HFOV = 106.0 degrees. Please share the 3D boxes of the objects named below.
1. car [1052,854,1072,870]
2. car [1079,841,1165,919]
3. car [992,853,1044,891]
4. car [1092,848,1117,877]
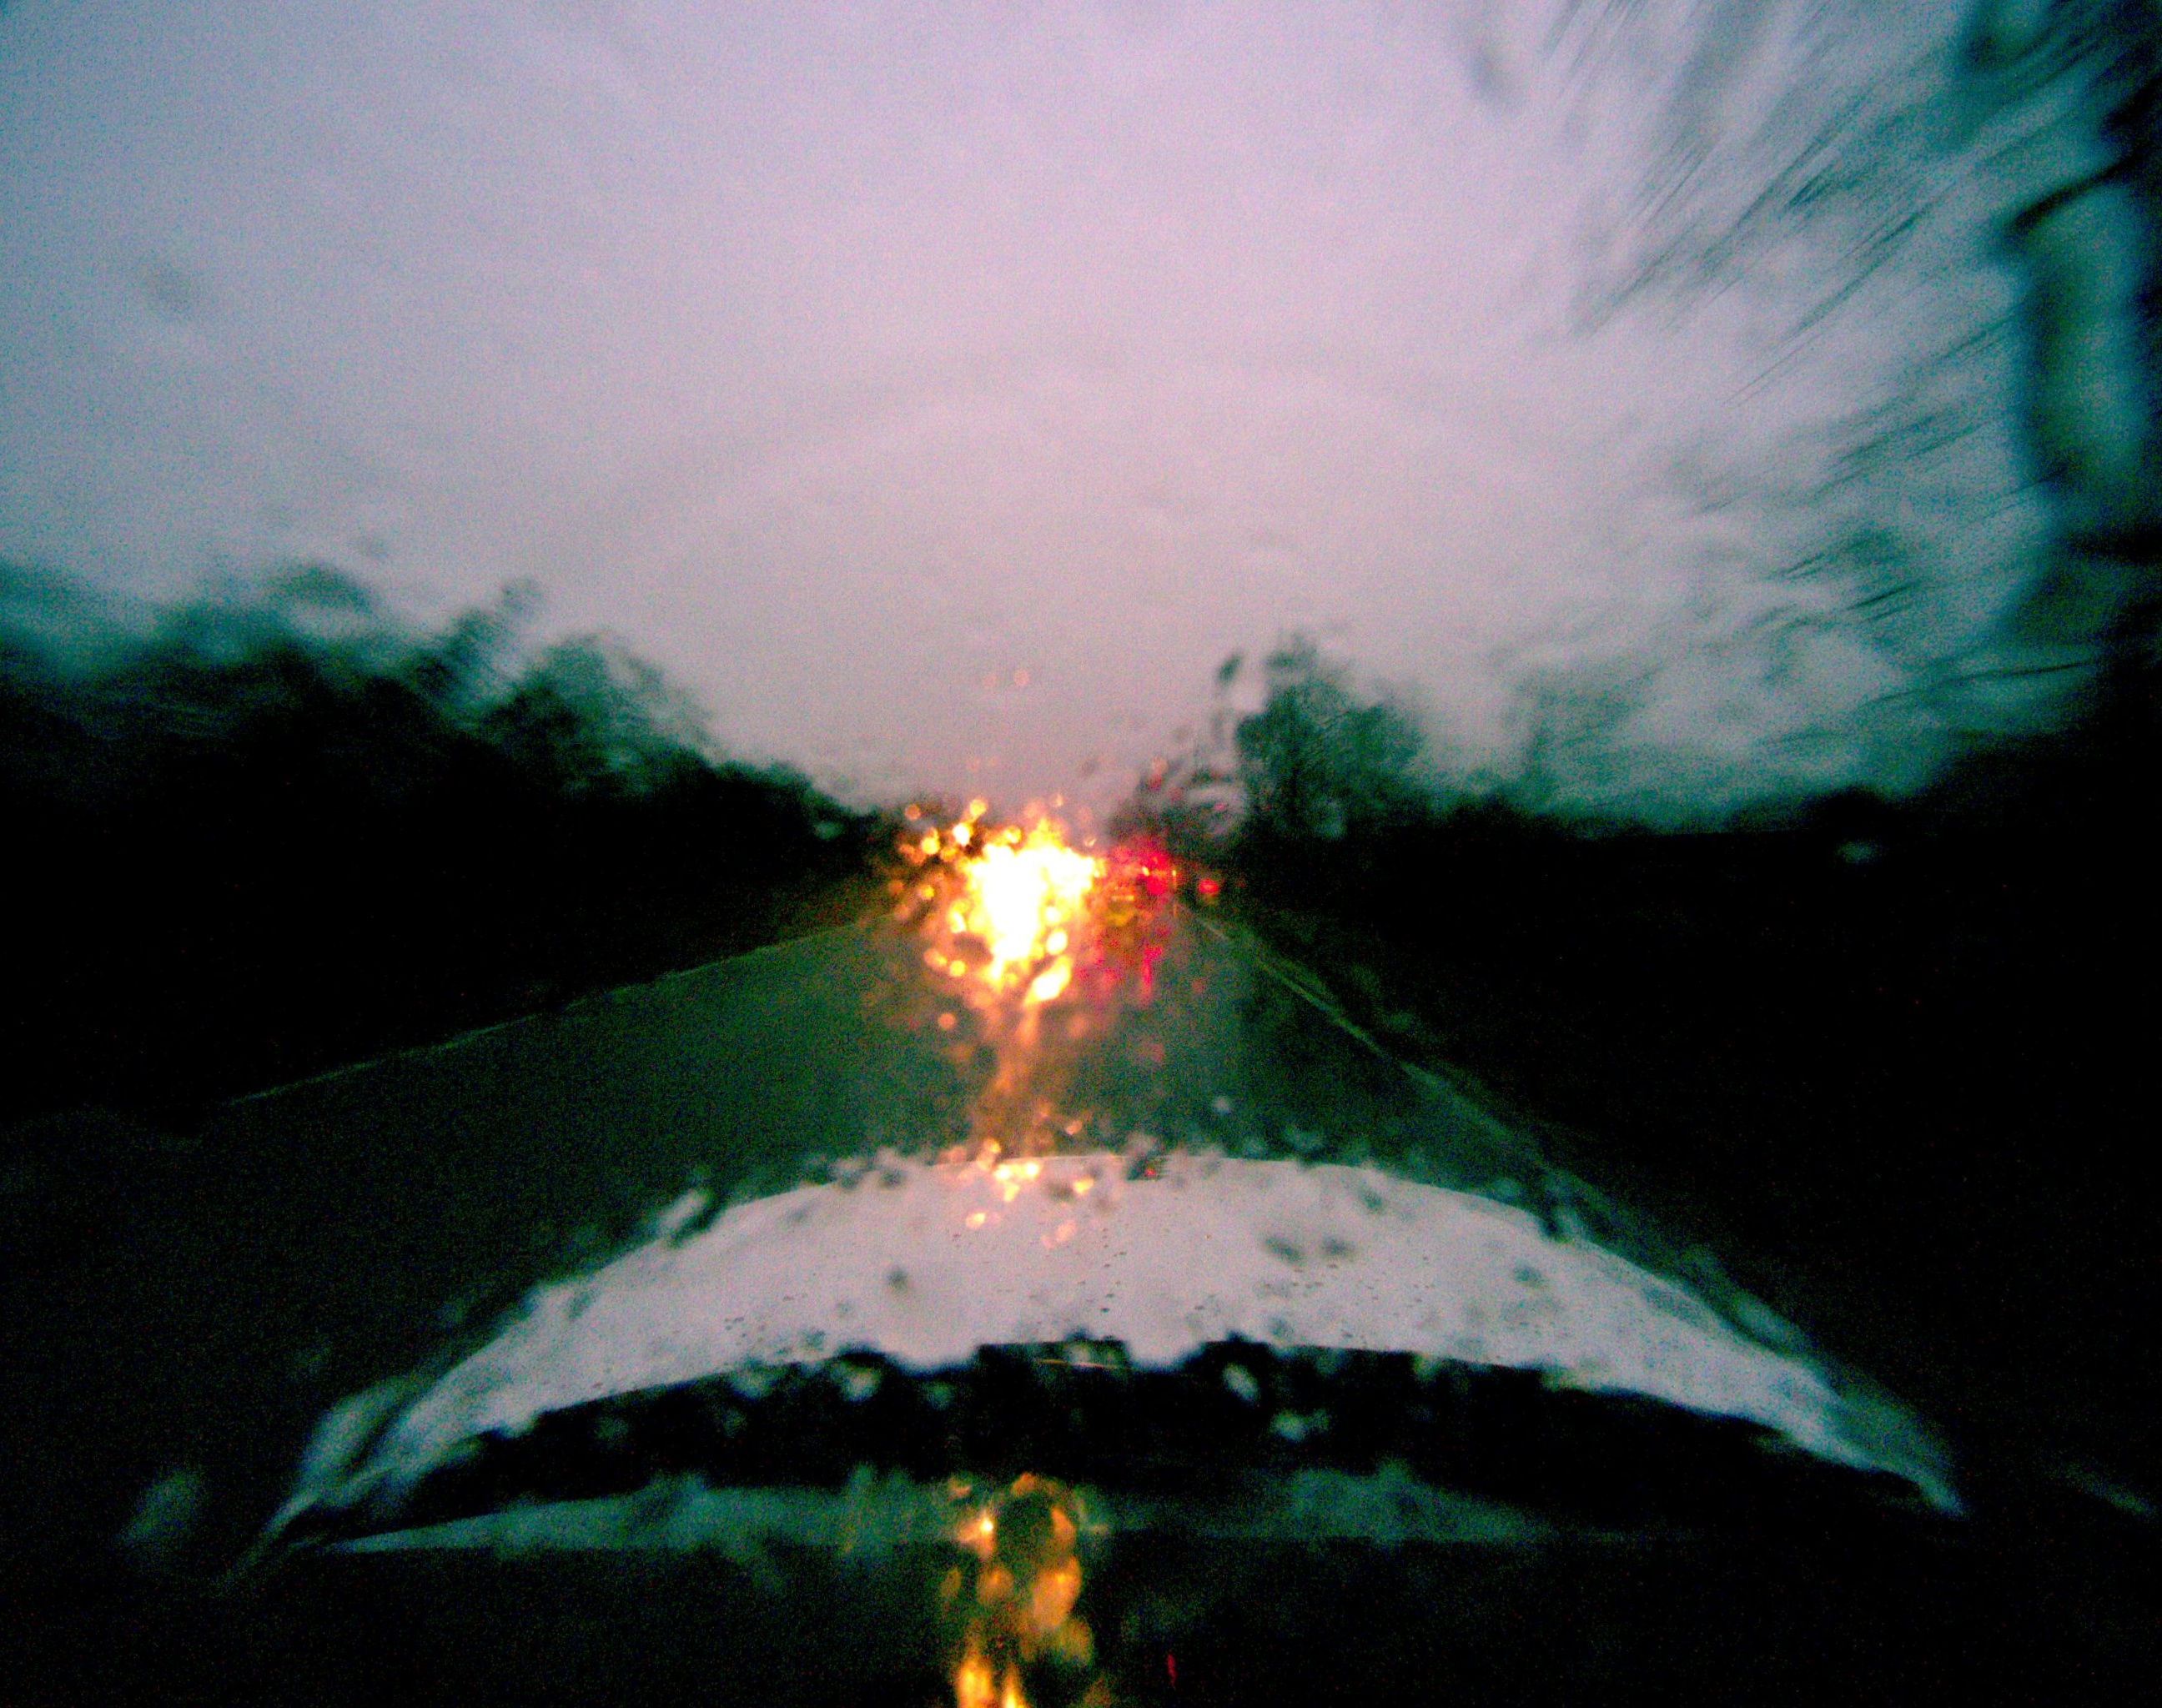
[{"bbox_3d":[-1.793,0.771,78.783,1.819,1.498,4.095,-1,0,0],"label":"car"},{"bbox_3d":[1.050,0.601,20.773,1.985,1.784,4.003,0,0,3],"label":"car"},{"bbox_3d":[-2.570,0.701,34.200,1.744,1.474,3.892,-1,0,2],"label":"car"},{"bbox_3d":[1.573,0.544,53.364,1.568,1.875,3.712,0,0,3],"label":"car"}]
